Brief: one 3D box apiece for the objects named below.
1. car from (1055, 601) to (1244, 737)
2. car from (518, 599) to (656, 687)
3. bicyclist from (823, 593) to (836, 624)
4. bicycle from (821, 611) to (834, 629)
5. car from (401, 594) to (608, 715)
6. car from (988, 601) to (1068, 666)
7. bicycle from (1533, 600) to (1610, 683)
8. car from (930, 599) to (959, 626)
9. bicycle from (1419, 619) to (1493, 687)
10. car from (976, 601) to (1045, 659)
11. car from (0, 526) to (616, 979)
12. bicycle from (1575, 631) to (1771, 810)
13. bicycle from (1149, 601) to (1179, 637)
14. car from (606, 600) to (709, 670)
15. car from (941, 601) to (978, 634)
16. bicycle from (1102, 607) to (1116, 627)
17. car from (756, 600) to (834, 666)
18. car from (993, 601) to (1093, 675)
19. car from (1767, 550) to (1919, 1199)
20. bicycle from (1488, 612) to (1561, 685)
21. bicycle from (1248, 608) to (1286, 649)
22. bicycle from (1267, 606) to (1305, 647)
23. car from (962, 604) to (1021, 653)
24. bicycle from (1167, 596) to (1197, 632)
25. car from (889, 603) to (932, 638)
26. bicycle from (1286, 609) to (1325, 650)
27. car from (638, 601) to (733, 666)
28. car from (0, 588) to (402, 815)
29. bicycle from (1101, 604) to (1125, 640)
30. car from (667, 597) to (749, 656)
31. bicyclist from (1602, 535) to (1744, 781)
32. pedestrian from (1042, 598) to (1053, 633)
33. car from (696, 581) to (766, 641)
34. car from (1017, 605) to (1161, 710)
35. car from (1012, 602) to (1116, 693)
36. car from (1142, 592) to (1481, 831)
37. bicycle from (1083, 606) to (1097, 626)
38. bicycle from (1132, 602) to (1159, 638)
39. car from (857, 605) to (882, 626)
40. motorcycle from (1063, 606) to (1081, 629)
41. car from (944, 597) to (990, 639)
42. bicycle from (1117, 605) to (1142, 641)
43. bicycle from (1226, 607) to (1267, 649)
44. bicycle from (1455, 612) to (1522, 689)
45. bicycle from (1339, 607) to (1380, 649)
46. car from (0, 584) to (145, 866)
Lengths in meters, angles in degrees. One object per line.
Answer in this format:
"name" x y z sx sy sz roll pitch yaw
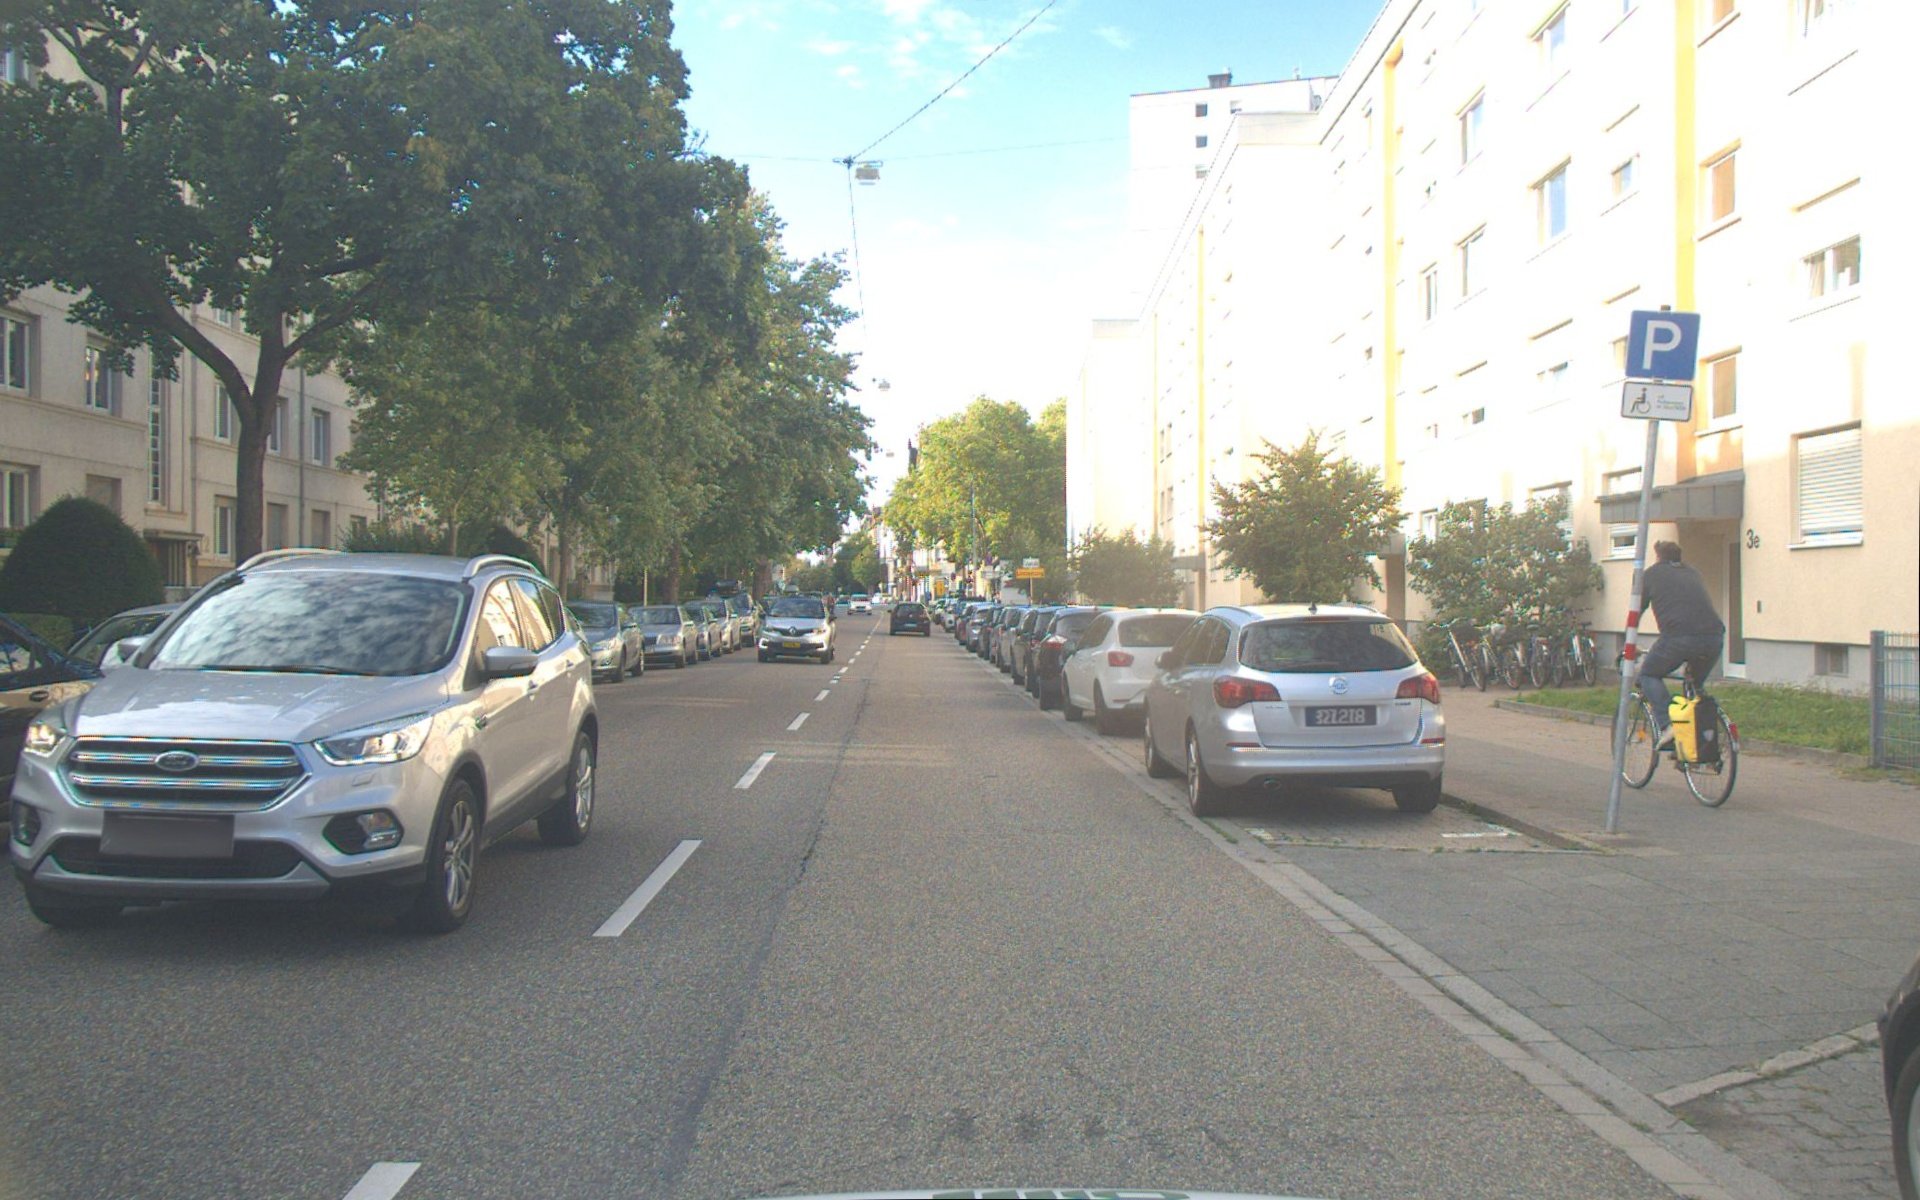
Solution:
"car" 2.270 0.784 20.827 1.650 1.493 4.203 -1 0 -3
"car" -7.039 0.753 31.642 1.818 1.512 4.680 -1 0 -4
"bicyclist" -6.958 0.455 88.290 0.628 1.629 0.989 -1 0 -2
"bicycle" -7.074 1.075 88.272 0.629 0.940 1.857 -1 0 -2
"car" -6.597 0.716 24.502 1.818 1.512 4.796 -3 0 -2
"car" 1.657 0.798 41.611 1.650 1.511 4.291 -1 0 -2
"bicycle" 9.484 0.651 25.701 0.511 1.237 1.590 -1 -2 -2
"car" -0.930 0.758 99.704 1.655 1.555 4.237 2 0 0
"bicycle" 7.686 0.822 25.688 0.584 1.015 1.691 0 -2 -2
"car" 1.379 0.824 46.700 1.628 1.517 3.939 -2 0 -2
"car" -3.059 0.594 8.457 1.792 1.698 4.083 2 0 -2
"bicycle" 5.110 0.818 11.986 0.513 1.155 1.928 0 0 -3
"bicycle" 7.731 0.699 62.851 0.712 1.313 2.634 -1 0 -2
"car" -6.962 0.764 38.470 1.703 1.417 4.663 -3 0 -3
"car" -0.028 0.827 79.294 1.693 1.514 4.640 -1 0 -1
"bicycle" 7.300 0.813 81.003 0.449 0.943 1.516 -1 0 -3
"car" -4.013 0.767 40.671 1.705 1.528 4.007 0 0 -3
"car" 1.761 0.790 36.209 1.666 1.489 4.176 -1 0 -4
"car" 3.072 0.686 2.525 1.639 1.630 3.969 -1 0 -2
"bicycle" 8.776 0.751 25.762 0.511 1.093 1.590 -1 -2 -2
"bicycle" 8.160 0.737 43.993 0.491 1.048 2.094 -3 0 -2
"bicycle" 8.670 0.694 44.011 0.491 1.048 2.068 -3 0 -2
"car" 0.966 0.886 52.993 1.628 1.441 4.057 -2 0 -2
"bicycle" 8.436 0.520 62.944 0.712 1.313 2.634 1 0 -2
"car" -2.157 0.873 71.417 1.717 1.438 3.997 1 0 -3
"bicycle" 9.176 0.765 44.014 0.491 1.048 2.025 -3 0 -2
"car" -7.215 0.849 43.889 1.818 1.512 4.942 -3 0 -2
"car" -6.185 0.698 13.595 1.784 1.512 4.367 -2 0 -2
"bicycle" 5.805 0.828 62.774 0.592 1.313 2.634 -1 0 -2
"car" -7.416 0.742 49.057 1.818 1.601 4.458 -1 0 -1
"bicyclist" 5.113 0.402 11.908 0.611 1.707 0.892 0 0 -3
"pedestrian" 4.414 0.778 83.817 0.530 1.751 0.771 -1 0 3
"car" -7.553 0.347 54.911 1.840 1.824 4.967 -2 0 -3
"car" 1.916 0.830 25.790 1.650 1.460 4.203 -1 0 -4
"car" 1.873 0.832 30.668 1.649 1.527 3.873 -1 0 0
"car" 2.556 0.729 13.078 1.727 1.550 4.329 -1 0 0
"bicycle" 6.365 0.772 80.928 0.449 0.958 1.516 -1 0 -3
"bicycle" 7.021 0.735 62.817 0.583 1.313 2.634 -3 0 -2
"car" -6.993 1.220 128.489 1.821 1.555 4.009 0 0 -1
"motorcycle" 5.463 0.855 80.843 0.618 1.063 2.392 -1 0 -3
"car" 0.267 0.734 68.918 1.694 1.678 4.114 -1 0 -3
"bicycle" 6.428 0.856 62.813 0.592 1.313 2.634 -2 0 -2
"bicycle" 7.581 0.720 43.863 0.581 1.048 2.118 -3 0 -2
"bicycle" 8.232 0.780 25.803 0.436 1.156 1.590 -1 -2 -2
"bicycle" 10.606 0.726 43.949 0.491 1.048 2.134 -3 0 -1
"car" -6.094 0.705 8.361 1.889 1.512 4.418 -2 0 -3
